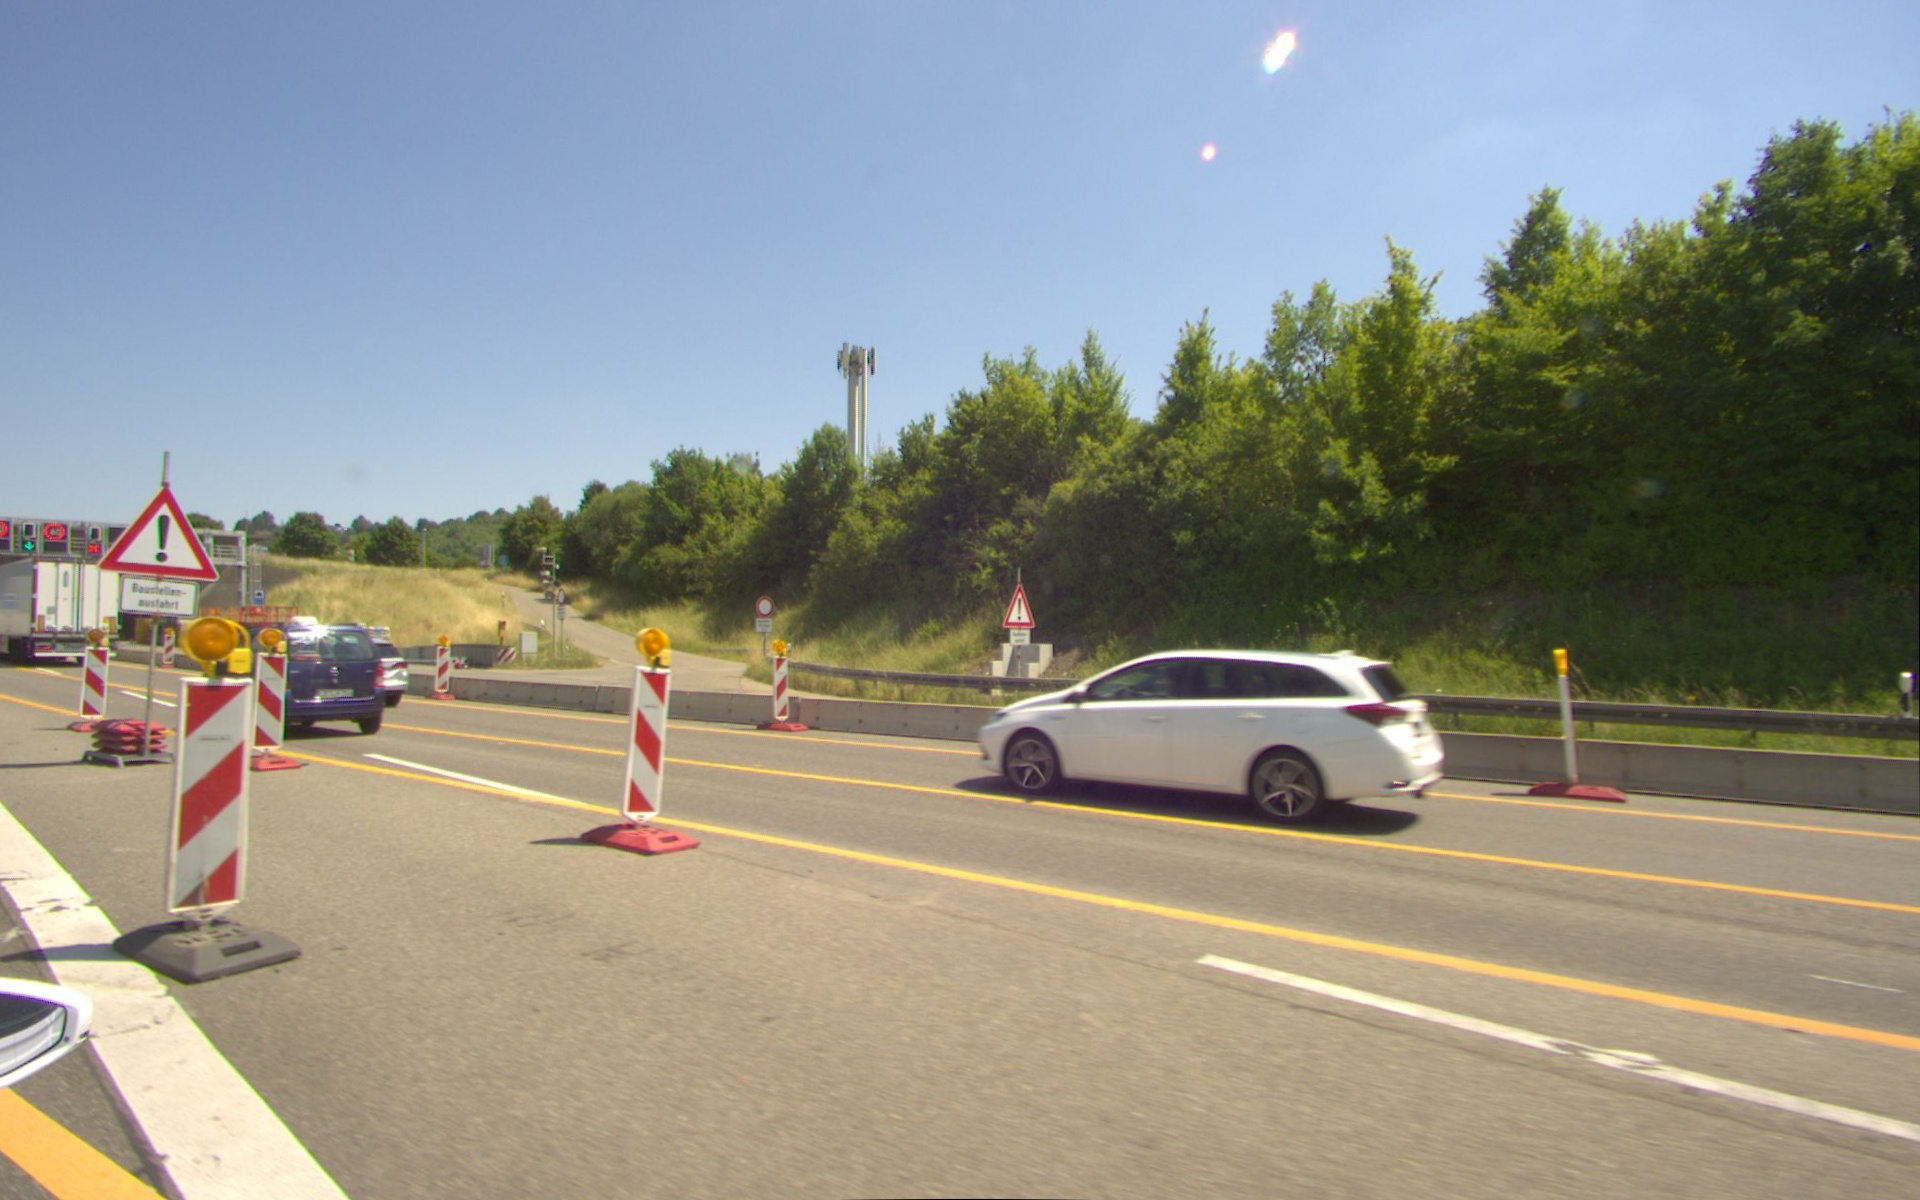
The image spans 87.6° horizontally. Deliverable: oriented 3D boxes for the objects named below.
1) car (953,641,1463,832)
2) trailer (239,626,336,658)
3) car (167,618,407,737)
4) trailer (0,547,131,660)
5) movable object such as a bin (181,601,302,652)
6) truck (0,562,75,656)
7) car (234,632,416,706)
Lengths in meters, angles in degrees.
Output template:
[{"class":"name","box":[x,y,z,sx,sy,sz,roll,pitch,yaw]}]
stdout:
[{"class":"car","box":[2.289,1.214,9.937,4.594,1.482,1.810,-3,-5,37]},{"class":"trailer","box":[-37.628,2.315,55.947,6.155,1.589,2.586,-1,0,37]},{"class":"car","box":[-10.856,1.165,16.034,4.594,1.663,1.809,-1,-3,38]},{"class":"trailer","box":[-38.138,0.336,41.972,13.930,4.112,2.722,-2,-3,40]},{"class":"movable object such as a bin","box":[-47.796,1.746,66.323,14.530,3.050,3.097,-1,-1,41]},{"class":"truck","box":[-43.748,0.510,46.710,5.856,4.083,2.734,-1,-3,40]},{"class":"car","box":[-14.169,1.470,22.252,4.591,1.483,1.811,-1,-3,36]}]
